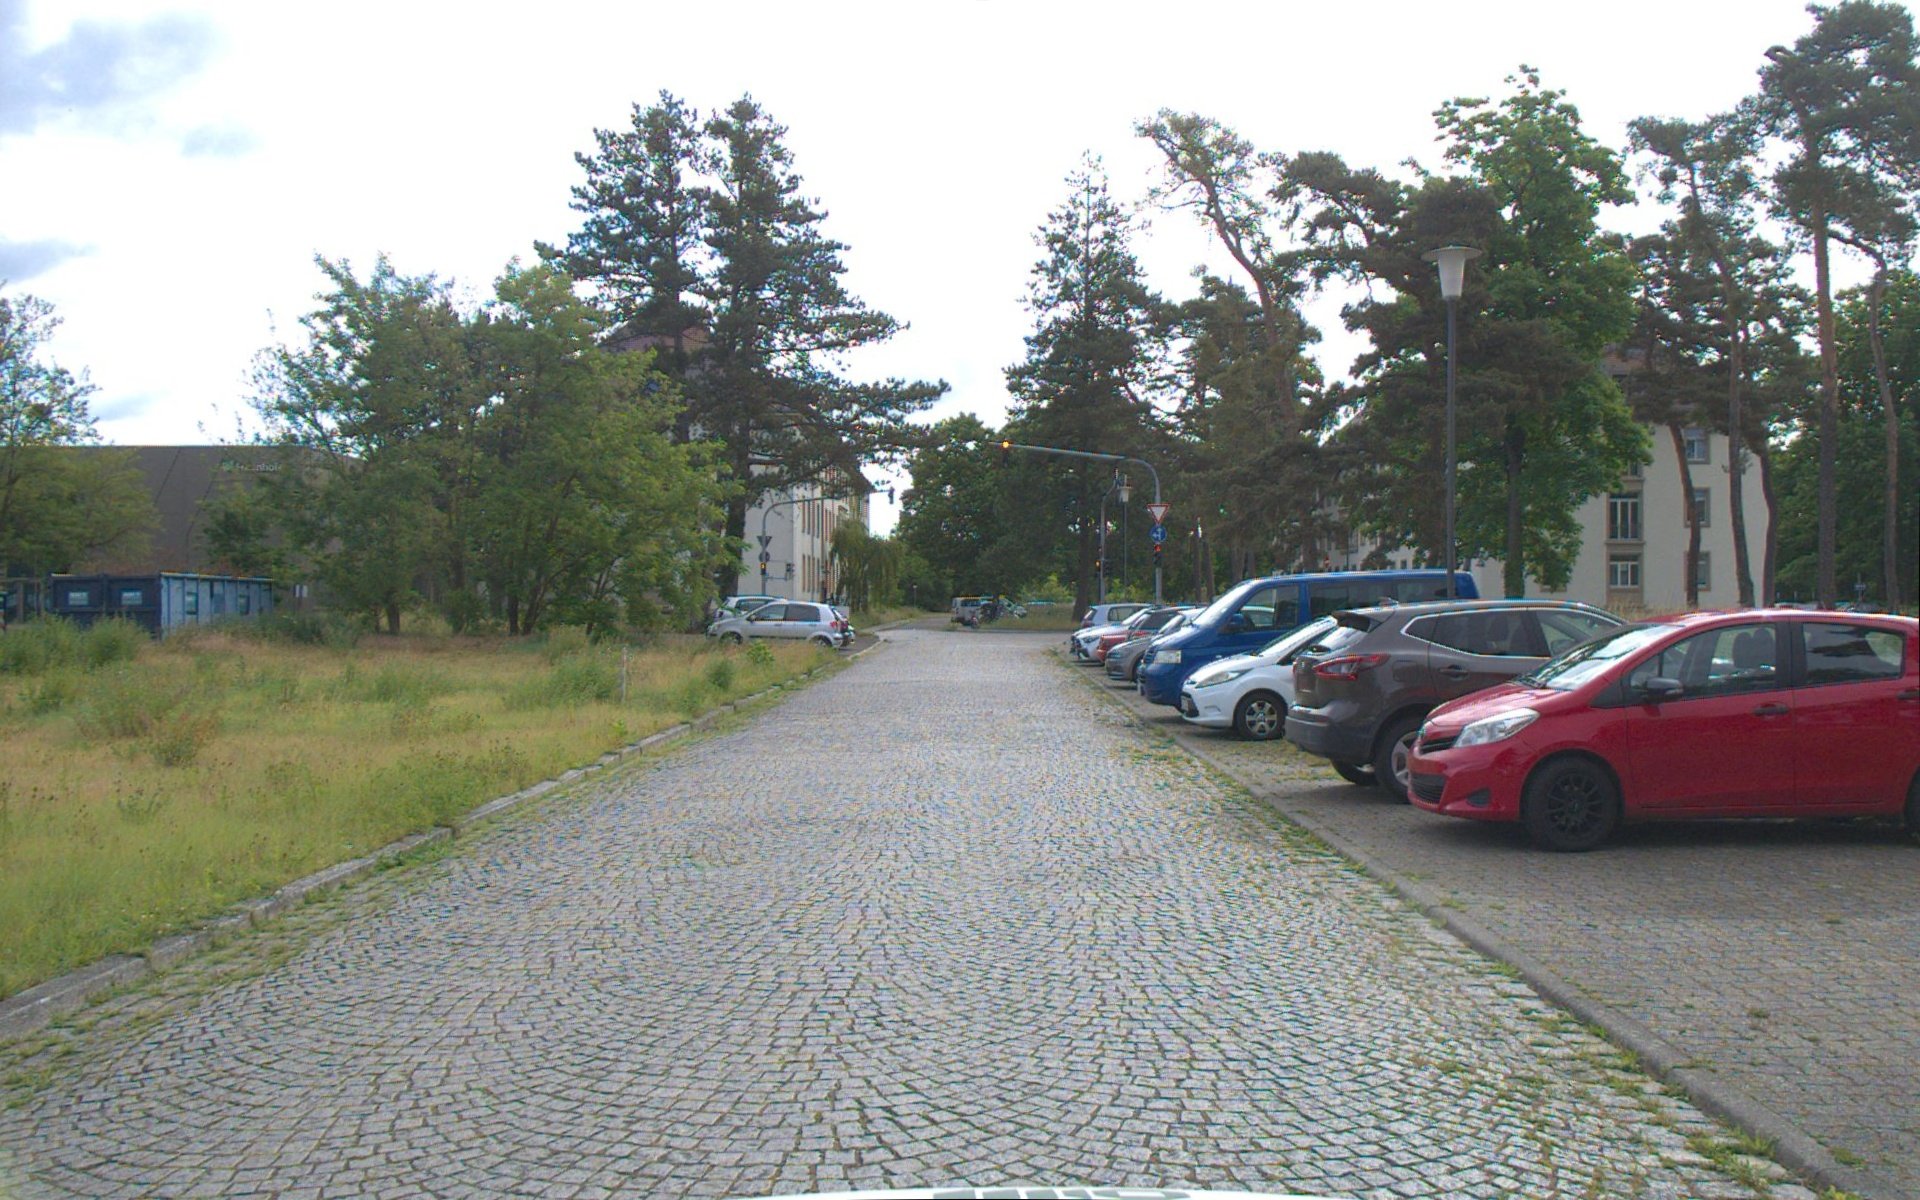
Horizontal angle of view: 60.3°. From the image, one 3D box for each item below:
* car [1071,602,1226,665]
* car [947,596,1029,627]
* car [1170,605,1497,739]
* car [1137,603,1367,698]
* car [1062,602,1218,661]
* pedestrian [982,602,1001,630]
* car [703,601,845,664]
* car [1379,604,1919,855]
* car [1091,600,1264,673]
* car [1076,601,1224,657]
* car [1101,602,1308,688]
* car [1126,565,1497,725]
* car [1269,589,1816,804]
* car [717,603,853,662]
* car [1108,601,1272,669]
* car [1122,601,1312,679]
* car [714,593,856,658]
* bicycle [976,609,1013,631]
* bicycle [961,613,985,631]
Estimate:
[{"bbox_3d":[4.654,0.817,41.160,3.599,1.446,1.522,-1,-1,-4],"label":"car"},{"bbox_3d":[1.891,0.777,113.518,5.345,2.049,2.264,1,0,-9],"label":"car"},{"bbox_3d":[4.502,0.849,20.277,3.598,1.475,1.614,-1,-1,-2],"label":"car"},{"bbox_3d":[4.924,0.844,28.147,3.598,1.475,1.523,-1,-1,-2],"label":"car"},{"bbox_3d":[4.755,0.831,44.015,3.890,1.446,1.618,-1,-1,-4],"label":"car"},{"bbox_3d":[1.815,0.933,95.949,1.013,1.642,0.757,1,-1,-4],"label":"pedestrian"},{"bbox_3d":[-5.095,0.890,45.632,3.745,1.600,1.563,-1,-1,-3],"label":"car"},{"bbox_3d":[4.941,0.813,11.256,3.714,1.486,1.751,-1,-1,0],"label":"car"},{"bbox_3d":[4.777,0.799,36.622,3.598,1.475,1.523,-1,-1,-2],"label":"car"},{"bbox_3d":[5.330,0.819,46.663,3.890,1.446,1.618,-1,-1,-4],"label":"car"},{"bbox_3d":[4.526,0.821,30.928,3.598,1.475,1.523,-1,-1,-2],"label":"car"},{"bbox_3d":[4.756,0.599,22.871,4.658,1.989,1.931,-1,-1,-2],"label":"car"},{"bbox_3d":[4.760,0.761,13.900,3.947,1.580,1.750,-1,-1,-2],"label":"car"},{"bbox_3d":[-5.039,0.937,48.048,3.743,1.600,1.564,-1,-1,0],"label":"car"},{"bbox_3d":[5.368,0.810,38.904,3.598,1.475,1.523,-1,-1,-2],"label":"car"},{"bbox_3d":[5.230,0.812,33.914,3.598,1.475,1.523,-1,-1,-2],"label":"car"},{"bbox_3d":[-5.364,0.783,51.038,4.175,1.873,1.743,-1,-1,0],"label":"car"},{"bbox_3d":[2.008,1.143,95.604,2.094,1.236,0.621,1,0,-4],"label":"bicycle"},{"bbox_3d":[0.704,1.216,91.539,0.612,0.961,1.648,1,0,-27],"label":"bicycle"}]
